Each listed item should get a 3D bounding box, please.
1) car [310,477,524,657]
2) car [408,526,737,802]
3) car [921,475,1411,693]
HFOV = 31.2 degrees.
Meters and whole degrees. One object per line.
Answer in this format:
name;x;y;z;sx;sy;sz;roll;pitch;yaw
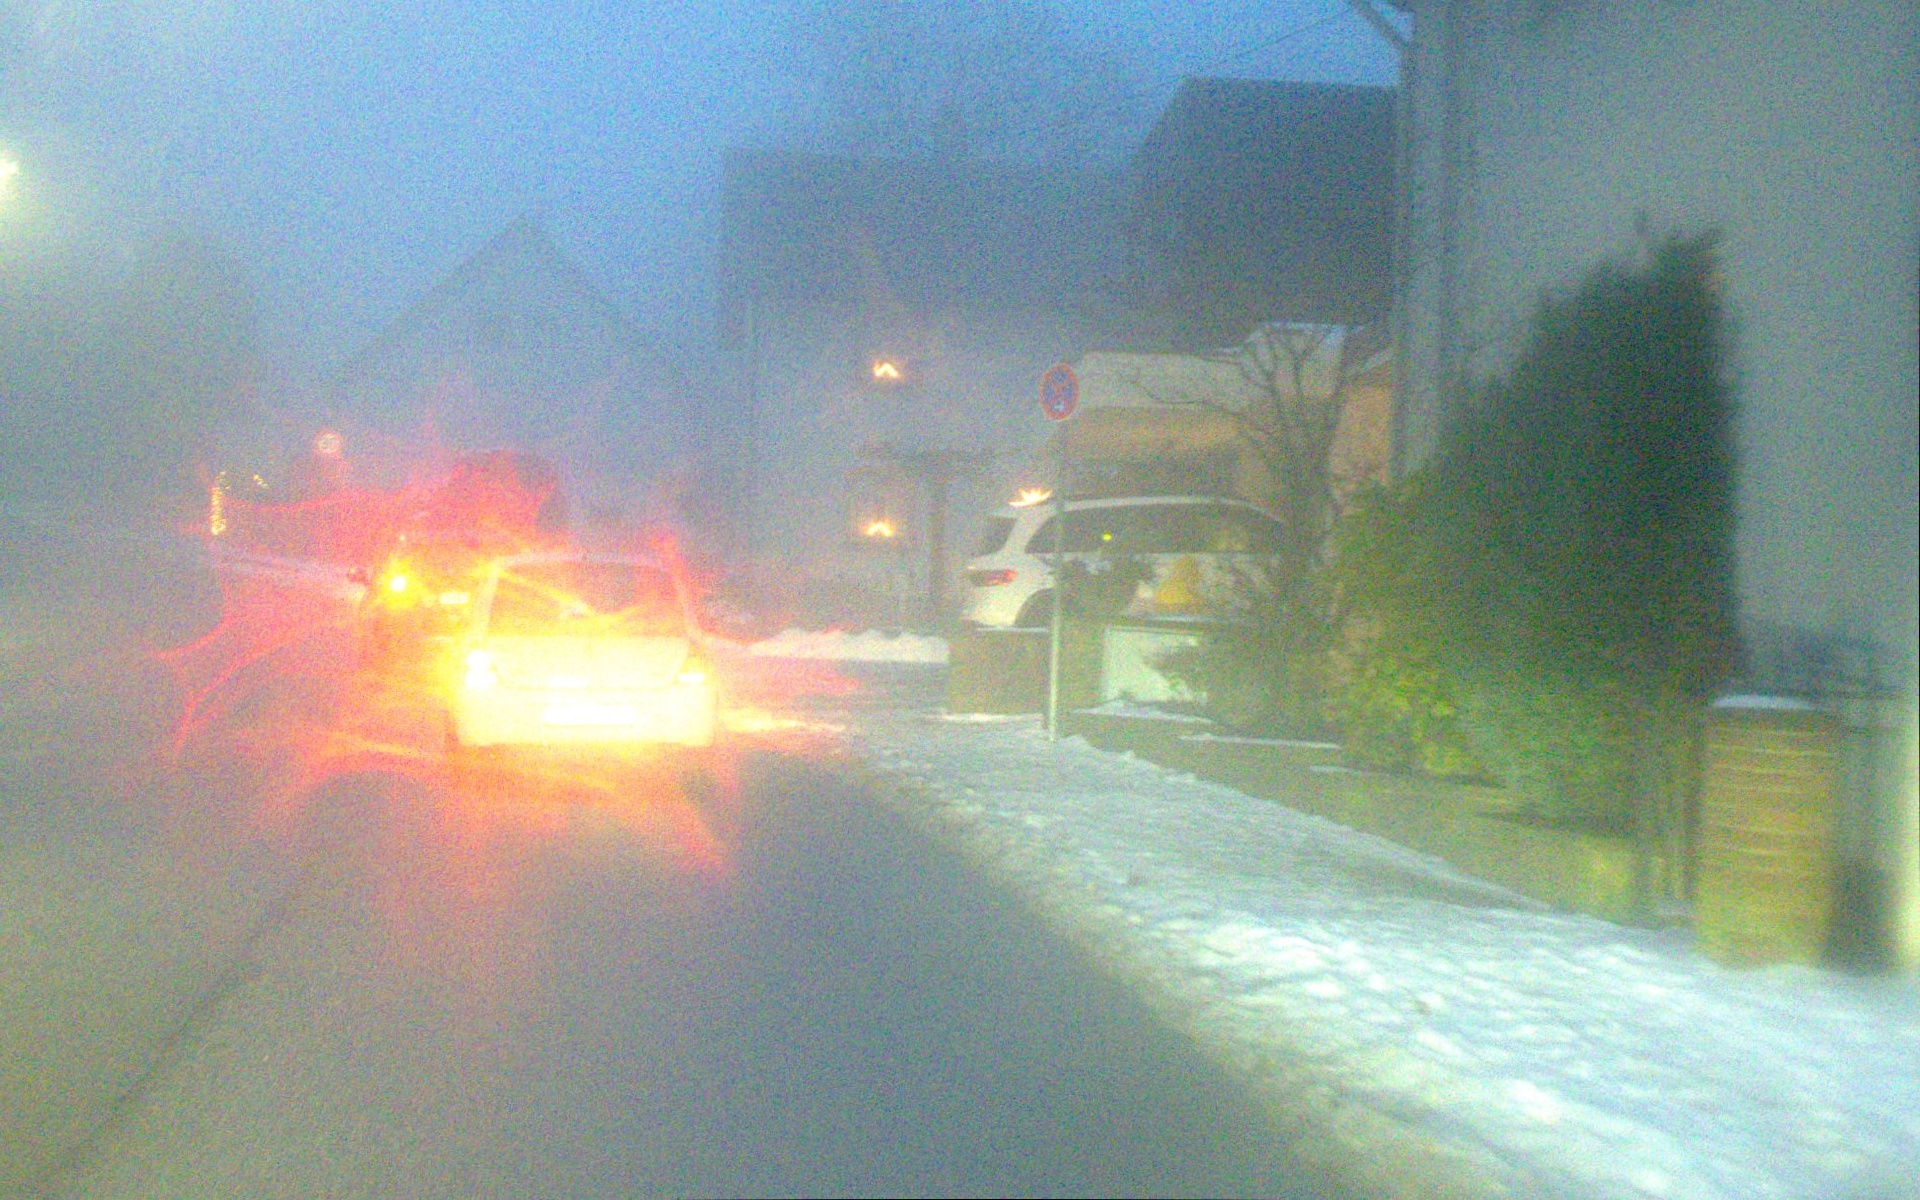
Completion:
car;-5.545;-0.338;35.515;1.993;1.731;3.879;1;1;-6
car;-2.492;0.356;22.168;1.897;1.604;4.001;1;1;-6
car;1.804;-0.149;31.081;4.205;1.852;1.912;1;0;-3
